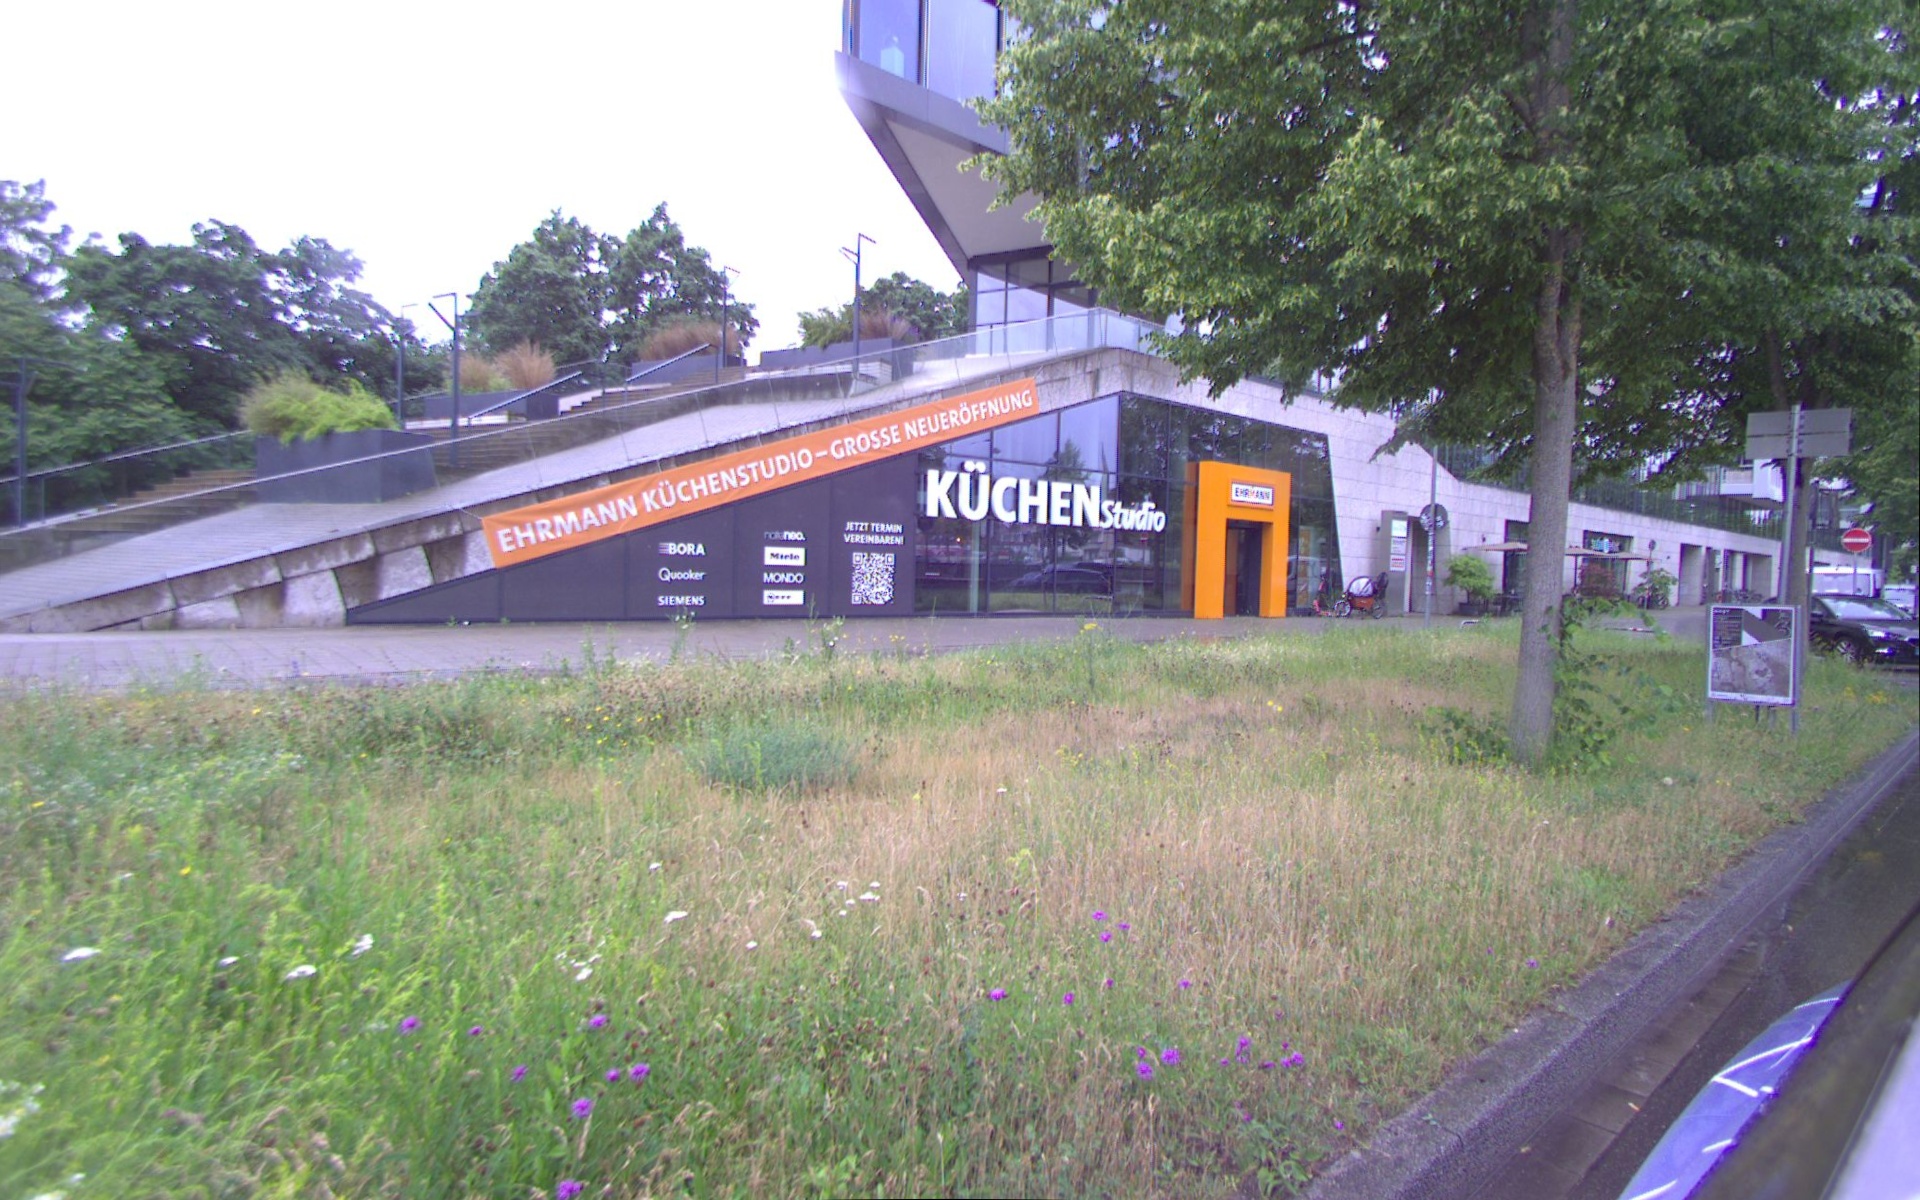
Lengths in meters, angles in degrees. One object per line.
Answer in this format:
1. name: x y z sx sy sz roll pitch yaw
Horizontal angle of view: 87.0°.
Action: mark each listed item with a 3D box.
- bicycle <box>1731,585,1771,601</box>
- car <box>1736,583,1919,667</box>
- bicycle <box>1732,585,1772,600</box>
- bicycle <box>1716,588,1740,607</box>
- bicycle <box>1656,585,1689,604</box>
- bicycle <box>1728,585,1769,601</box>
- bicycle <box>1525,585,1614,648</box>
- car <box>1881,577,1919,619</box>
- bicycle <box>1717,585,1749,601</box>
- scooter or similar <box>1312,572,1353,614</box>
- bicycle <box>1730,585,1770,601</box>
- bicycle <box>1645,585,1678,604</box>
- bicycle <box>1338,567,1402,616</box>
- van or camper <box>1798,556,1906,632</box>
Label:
1. bicycle: 52.826 -0.494 67.568 0.389 0.957 2.025 -1 4 -44
2. car: 17.957 0.419 20.251 1.801 1.437 4.340 1 2 6
3. bicycle: 53.197 -0.515 68.003 0.389 0.957 2.025 -1 4 -44
4. bicycle: 39.425 -0.155 51.940 1.823 0.957 0.403 -1 2 -34
5. bicycle: 36.543 -0.291 51.934 0.388 0.958 2.028 -1 1 4
6. bicycle: 51.926 -0.480 66.665 0.389 0.957 2.025 -1 4 -44
7. bicycle: 13.857 0.352 23.065 0.521 1.363 1.852 2 0 -15
8. car: 42.654 -0.112 45.194 4.766 1.781 1.744 -1 2 -42
9. bicycle: 49.287 -0.449 64.557 0.339 0.957 1.665 1 3 -22
10. scooter or similar: 11.026 -0.209 29.976 1.214 1.243 0.343 -1 0 -22
11. bicycle: 52.422 -0.487 67.145 0.389 0.957 2.025 -1 4 -44
12. bicycle: 35.938 -0.284 51.872 0.388 0.958 2.028 -1 1 4
13. bicycle: 12.572 -0.267 31.028 2.382 1.419 0.734 0 3 -40
14. van or camper: 29.346 -0.251 33.227 5.367 2.320 2.029 -1 2 -42
